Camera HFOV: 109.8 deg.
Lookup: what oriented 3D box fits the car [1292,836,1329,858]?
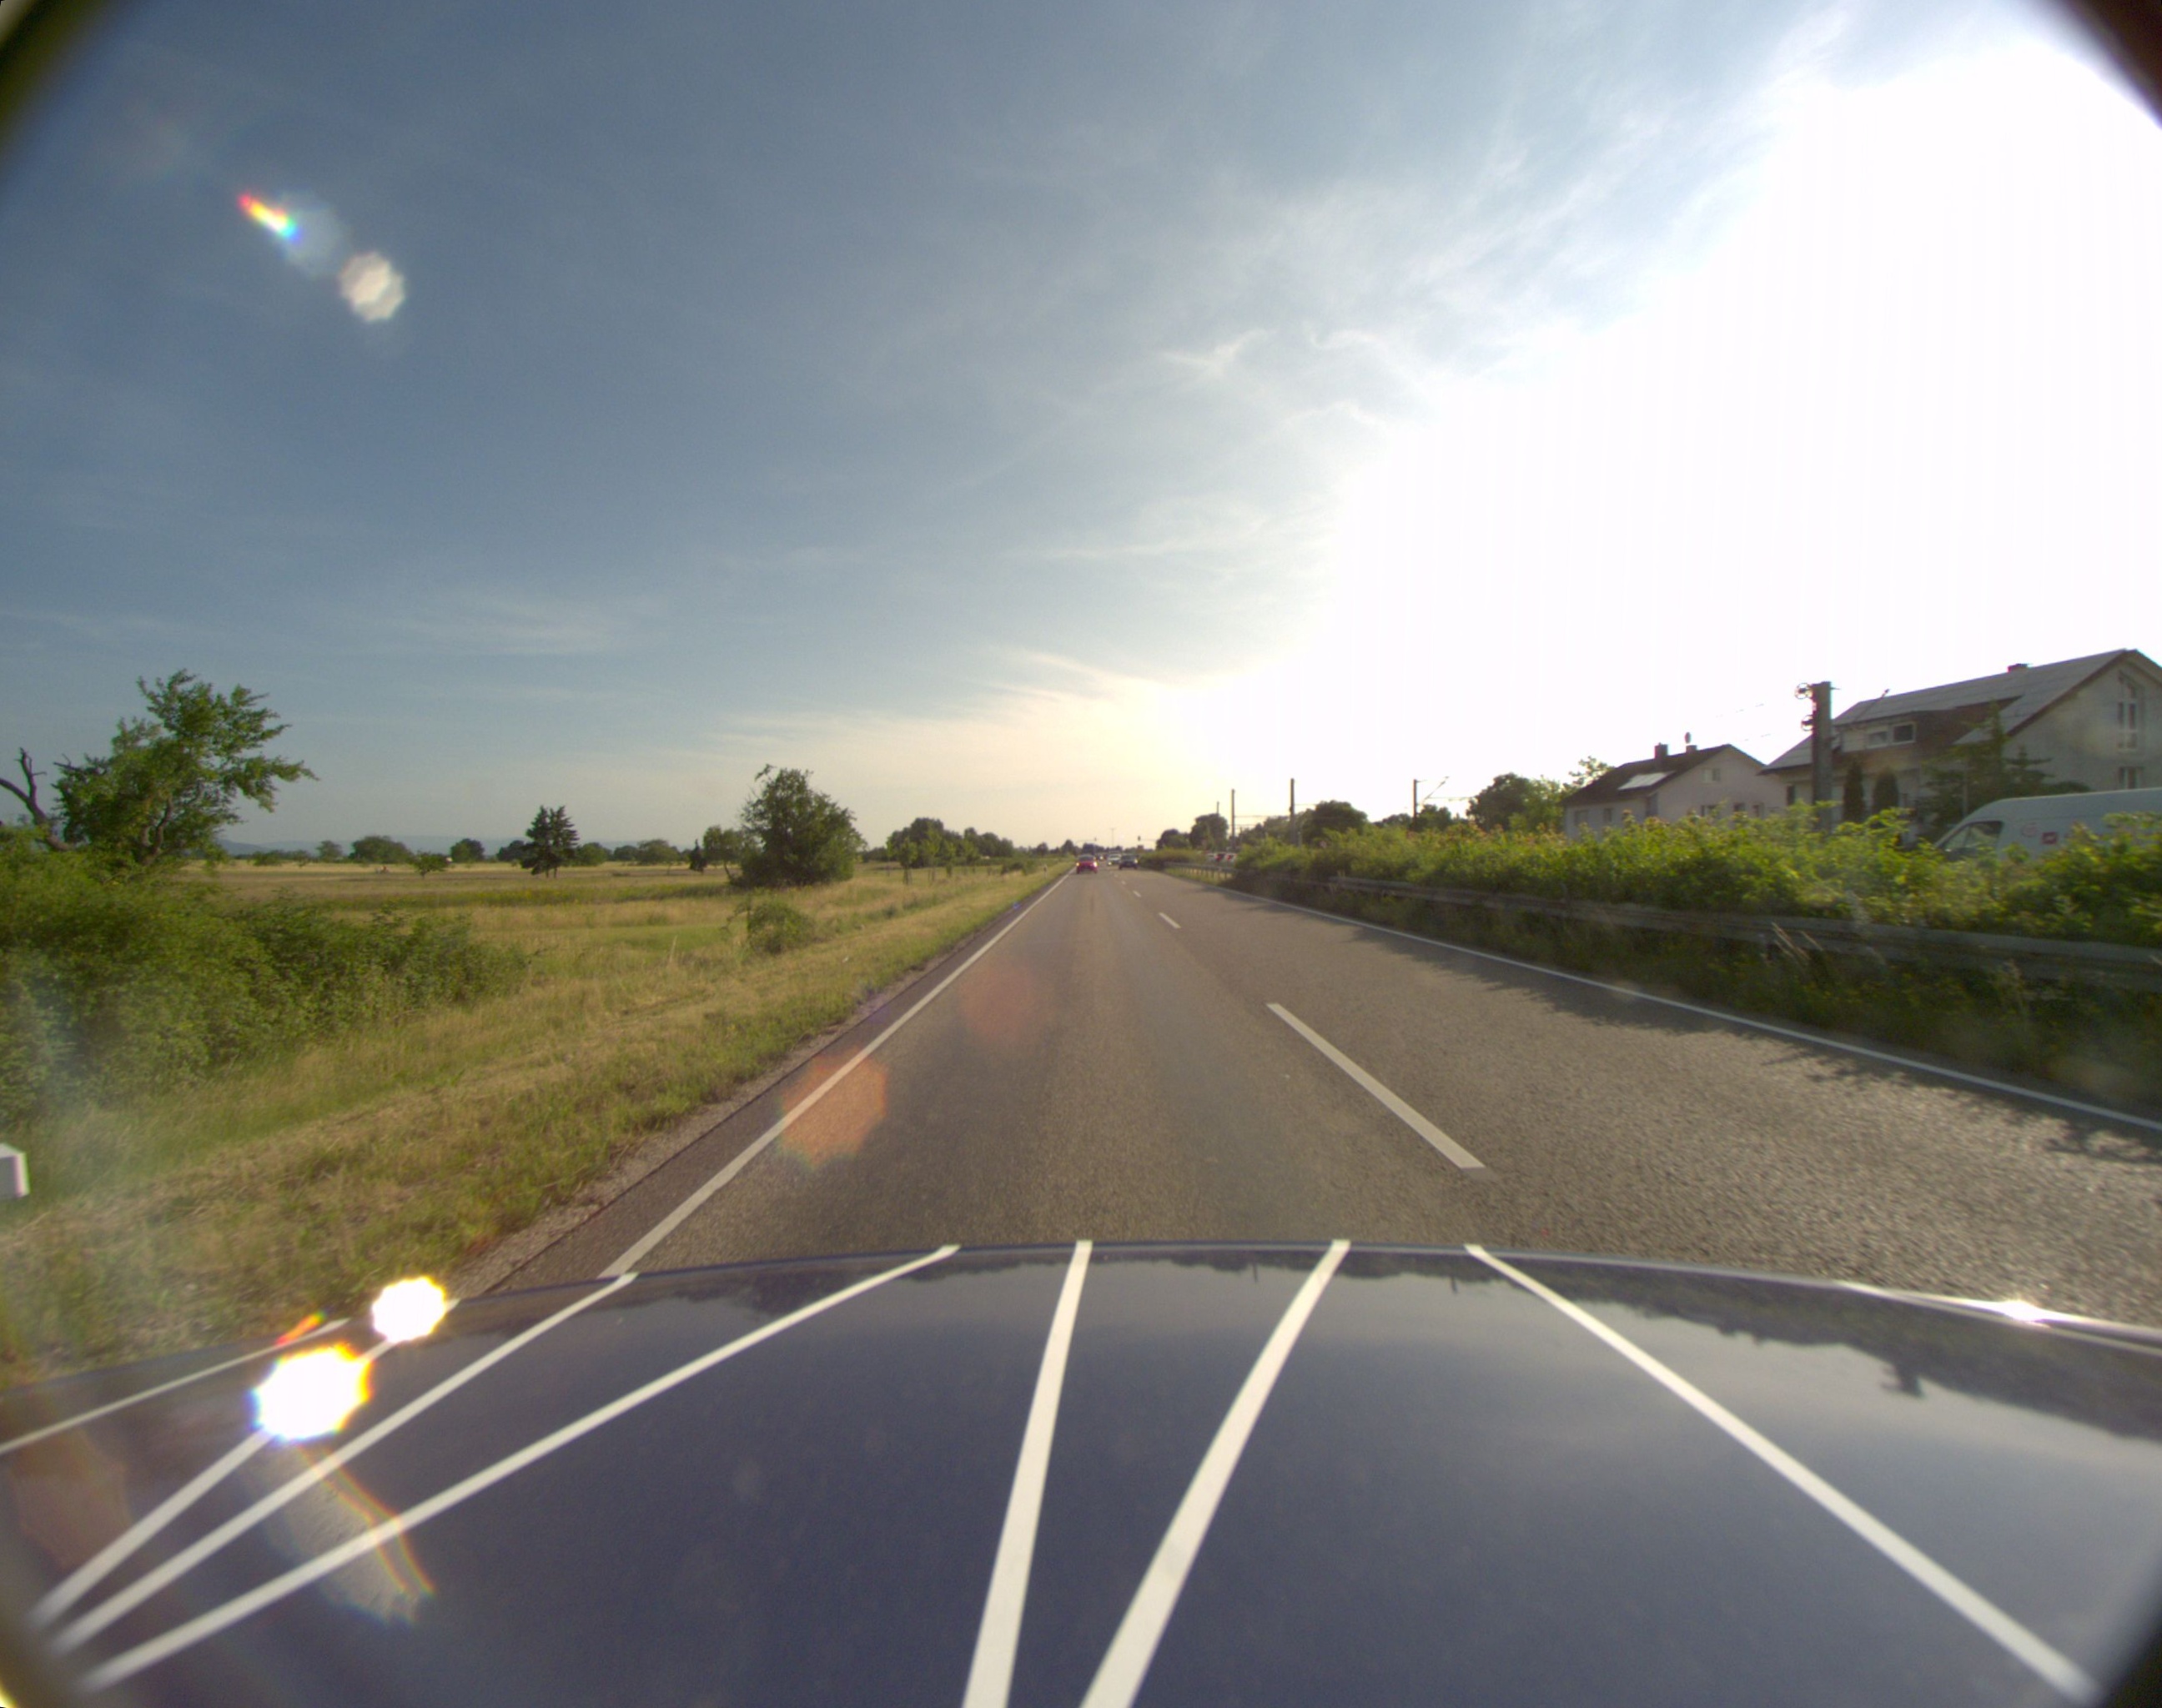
[{"bbox_3d":[19.883,-0.600,65.937,1.998,1.739,4.000,-2,0,1],"label":"car"}]

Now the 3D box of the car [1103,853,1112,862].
[{"bbox_3d":[5.937,0.823,169.973,1.998,2.002,4.000,-2,0,1],"label":"car"}]

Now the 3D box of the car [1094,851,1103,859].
[{"bbox_3d":[3.509,0.191,153.237,1.636,1.442,4.000,-2,0,1],"label":"car"}]

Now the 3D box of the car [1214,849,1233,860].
[{"bbox_3d":[17.967,0.032,96.198,1.733,1.358,3.622,2,0,1],"label":"car"}]

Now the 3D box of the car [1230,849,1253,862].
[{"bbox_3d":[17.668,0.173,83.767,1.733,1.358,3.622,2,0,1],"label":"car"}]

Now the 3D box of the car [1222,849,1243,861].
[{"bbox_3d":[18.097,0.132,90.960,1.733,1.358,3.622,2,0,1],"label":"car"}]

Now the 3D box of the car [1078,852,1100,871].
[{"bbox_3d":[0.683,0.617,64.209,1.735,1.467,4.000,-2,0,1],"label":"car"}]

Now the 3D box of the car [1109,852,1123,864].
[{"bbox_3d":[4.409,0.521,96.656,1.636,1.442,4.000,-2,0,1],"label":"car"}]

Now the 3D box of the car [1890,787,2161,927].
[{"bbox_3d":[16.477,-0.005,12.093,1.998,2.002,4.871,-2,0,1],"label":"car"}]

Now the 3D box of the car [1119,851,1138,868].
[{"bbox_3d":[4.553,0.487,73.916,1.636,1.500,4.000,-2,0,1],"label":"car"}]

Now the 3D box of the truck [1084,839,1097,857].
[{"bbox_3d":[2.298,-1.420,175.882,2.849,3.896,10.104,-2,0,1],"label":"truck"}]
